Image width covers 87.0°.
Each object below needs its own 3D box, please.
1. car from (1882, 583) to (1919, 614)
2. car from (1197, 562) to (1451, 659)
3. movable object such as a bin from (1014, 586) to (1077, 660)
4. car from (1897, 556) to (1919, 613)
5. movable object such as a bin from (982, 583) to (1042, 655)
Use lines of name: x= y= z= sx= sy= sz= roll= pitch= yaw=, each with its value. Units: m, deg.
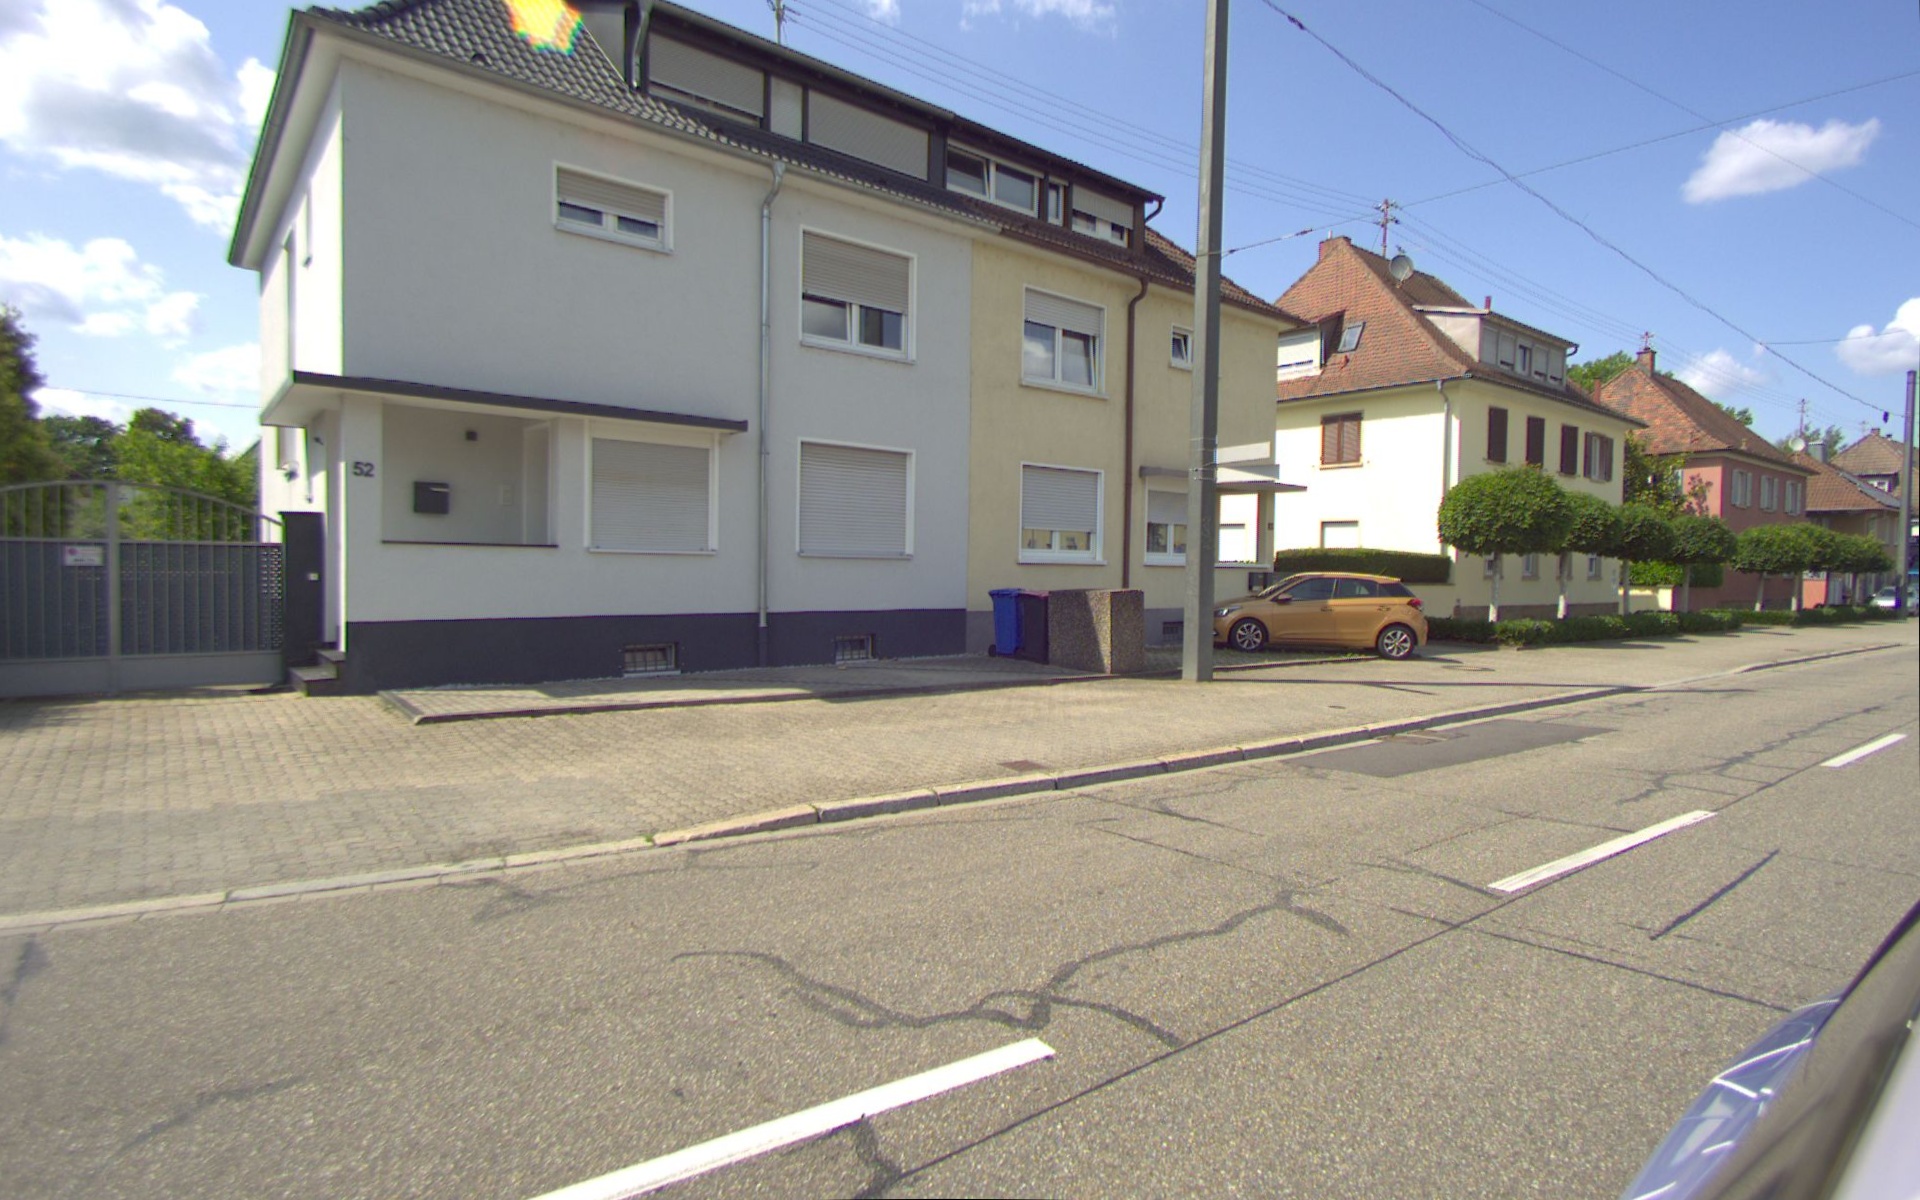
car: x=47.389 y=-0.086 z=50.318 sx=4.273 sy=1.426 sz=1.653 roll=-1 pitch=3 yaw=-40
car: x=6.511 y=0.154 z=18.568 sx=4.027 sy=1.476 sz=1.911 roll=3 pitch=1 yaw=10
movable object such as a bin: x=1.272 y=0.327 z=15.064 sx=0.673 sy=1.060 sz=0.639 roll=0 pitch=1 yaw=-40
car: x=52.734 y=-0.858 z=54.486 sx=6.126 sy=2.966 sz=2.158 roll=-1 pitch=1 yaw=-35
movable object such as a bin: x=0.795 y=0.284 z=15.583 sx=0.648 sy=1.068 sz=0.646 roll=0 pitch=1 yaw=-40
